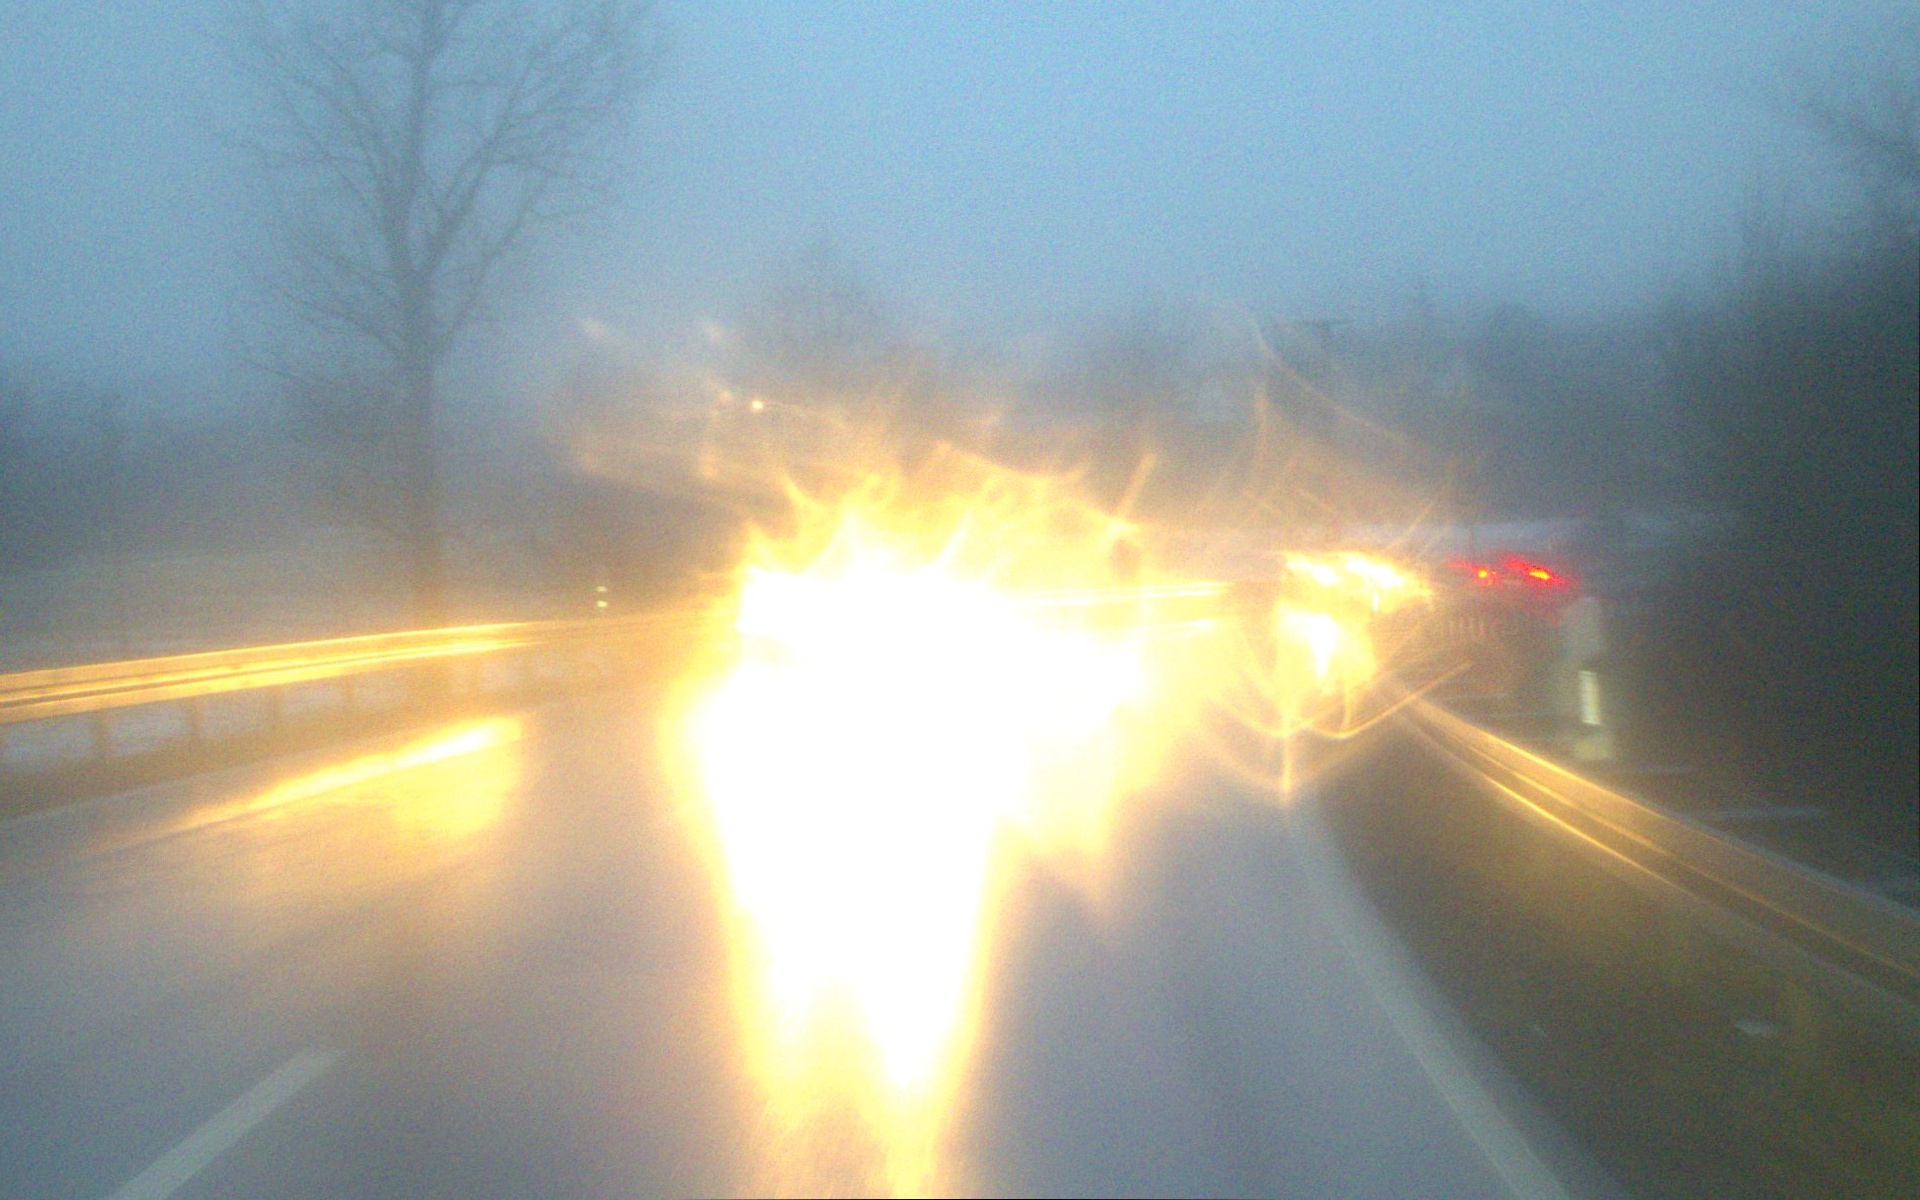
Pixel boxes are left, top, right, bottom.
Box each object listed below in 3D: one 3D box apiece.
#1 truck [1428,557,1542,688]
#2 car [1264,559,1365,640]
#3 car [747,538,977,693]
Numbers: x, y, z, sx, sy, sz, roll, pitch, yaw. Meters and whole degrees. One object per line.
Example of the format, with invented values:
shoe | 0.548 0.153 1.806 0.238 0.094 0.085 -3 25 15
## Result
truck | 12.665 0.485 82.616 2.533 2.859 5.920 1 2 10
car | 8.595 -0.042 83.099 1.884 1.857 5.004 0 1 12
car | -1.037 0.127 39.117 2.011 1.629 4.872 0 1 6
